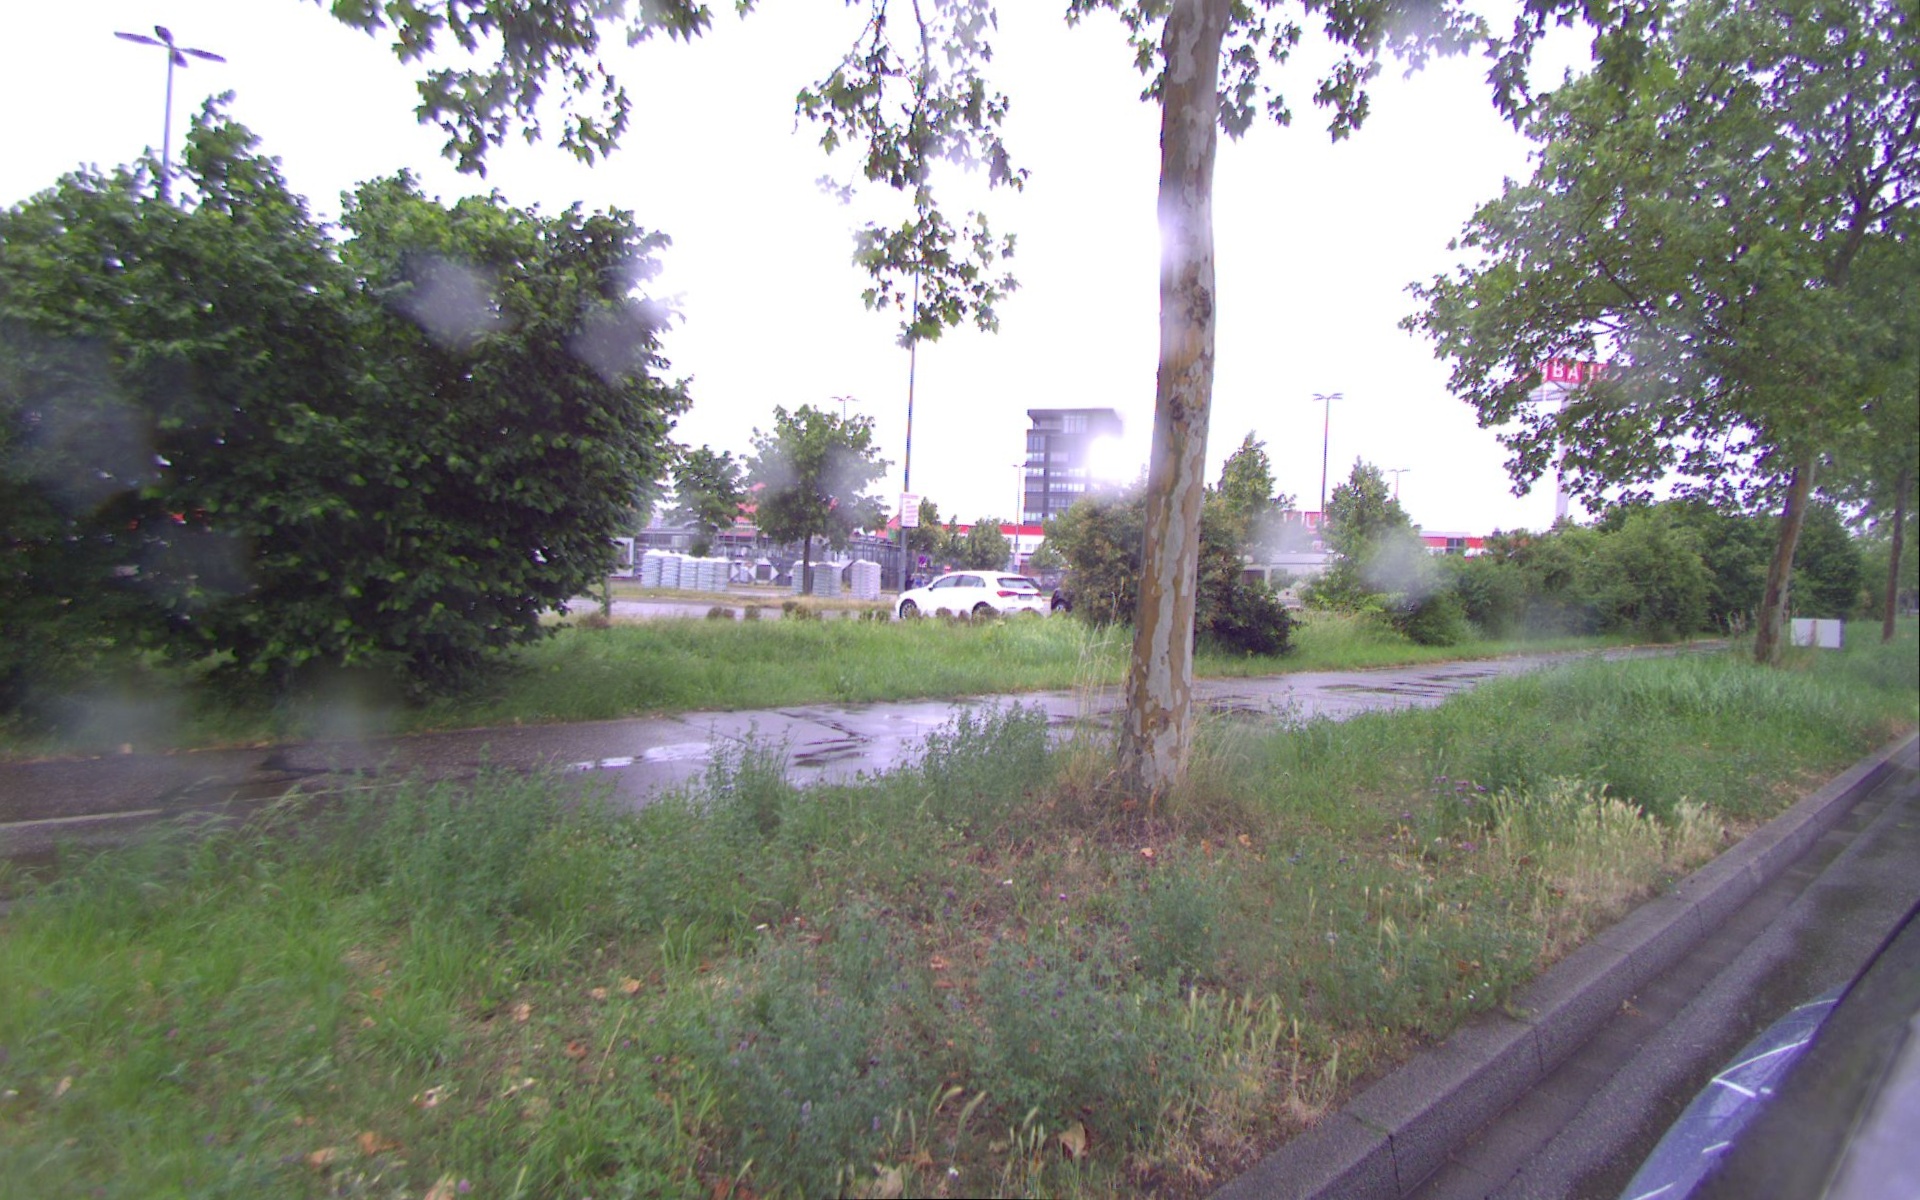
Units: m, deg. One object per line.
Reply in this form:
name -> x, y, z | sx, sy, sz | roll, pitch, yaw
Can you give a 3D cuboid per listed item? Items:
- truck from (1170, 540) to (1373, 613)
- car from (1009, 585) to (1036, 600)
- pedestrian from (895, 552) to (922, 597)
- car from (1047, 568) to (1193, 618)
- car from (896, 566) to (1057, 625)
truck -> 10.721, -0.796, 35.313 | 6.530, 2.333, 2.186 | 1, 1, 43
car -> 5.857, -0.728, 94.623 | 1.834, 1.373, 3.857 | 1, 1, 15
pedestrian -> -2.100, -1.037, 41.159 | 0.786, 1.810, 0.702 | 1, 1, -45
car -> 4.737, -0.224, 30.307 | 1.967, 1.382, 3.990 | -1, 1, -44
car -> 0.359, -0.139, 25.855 | 1.838, 1.382, 3.990 | -1, 1, -44
